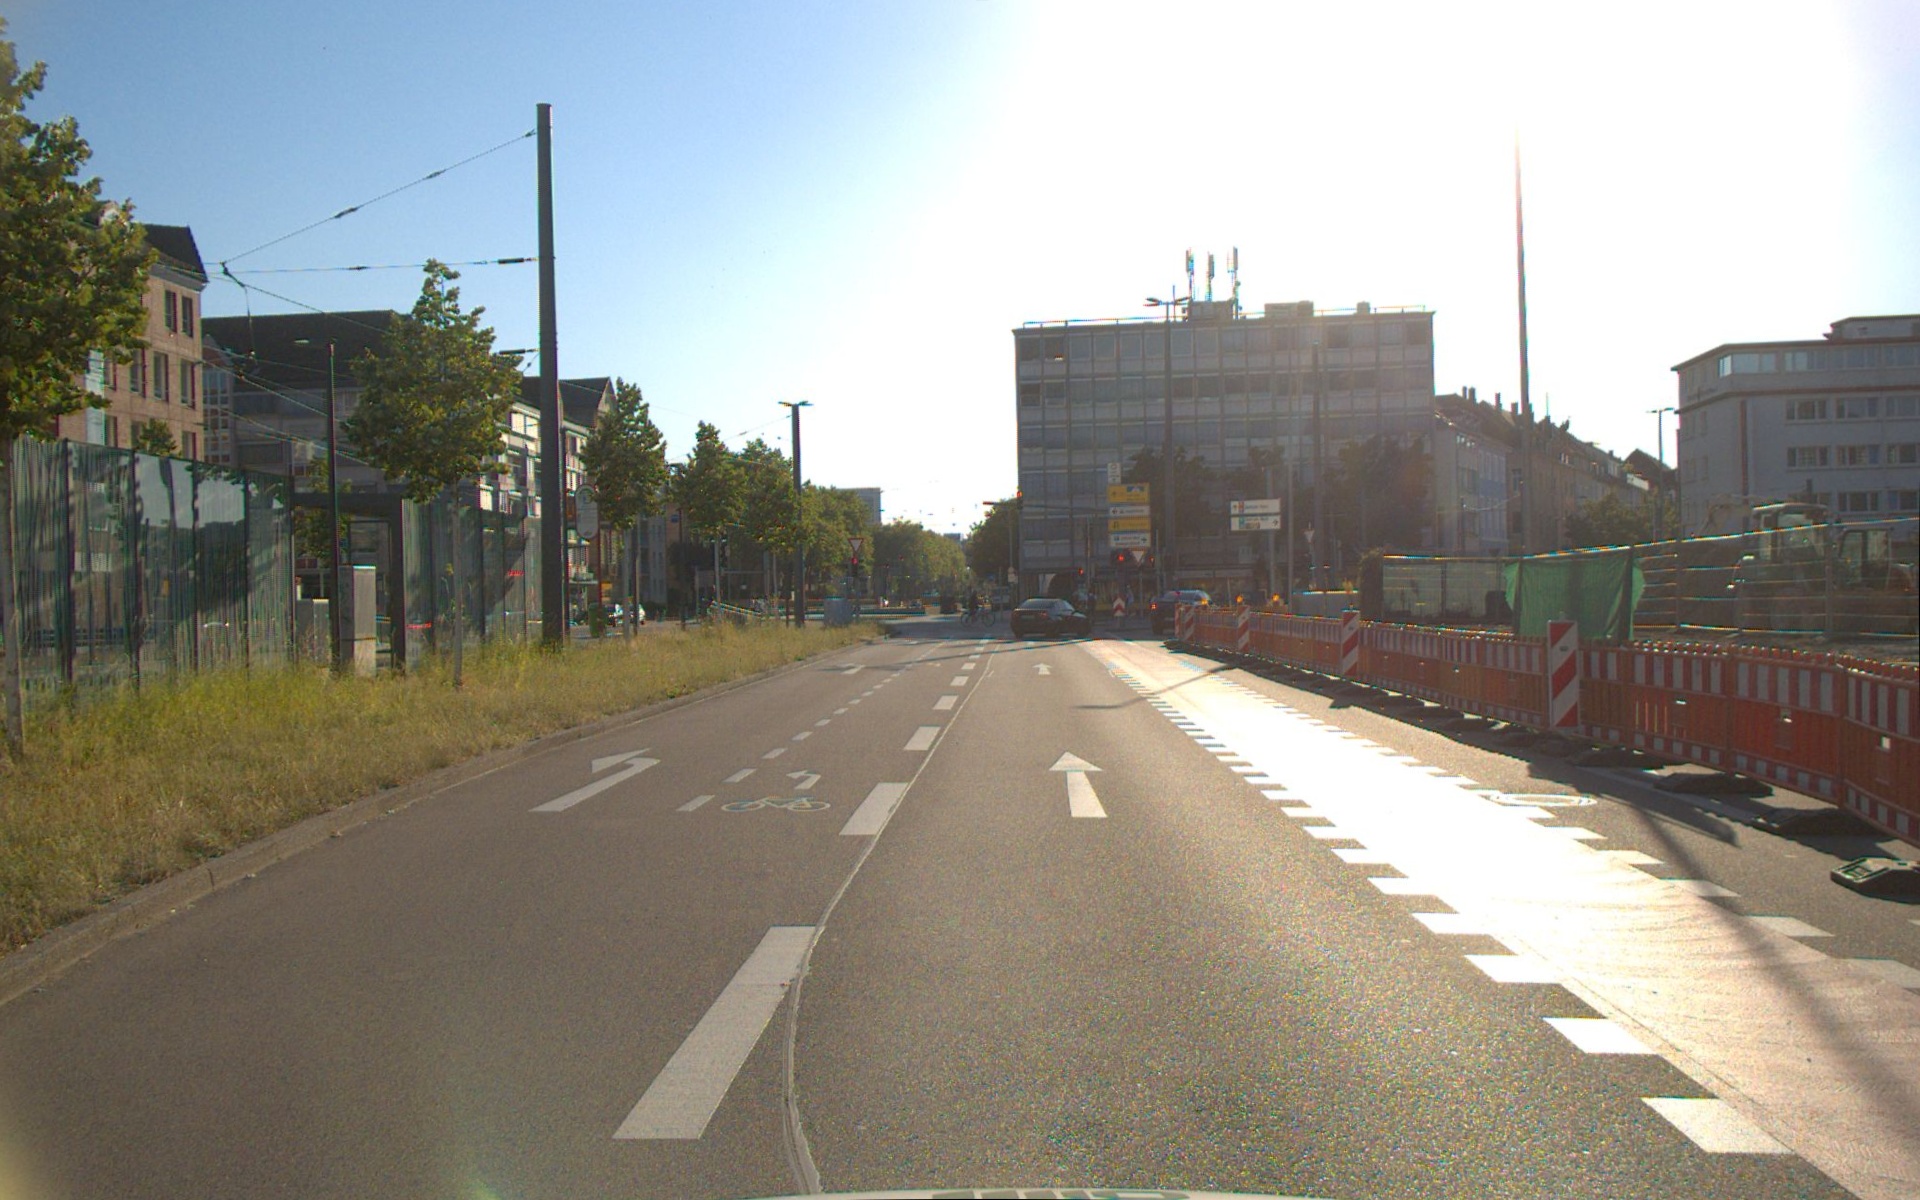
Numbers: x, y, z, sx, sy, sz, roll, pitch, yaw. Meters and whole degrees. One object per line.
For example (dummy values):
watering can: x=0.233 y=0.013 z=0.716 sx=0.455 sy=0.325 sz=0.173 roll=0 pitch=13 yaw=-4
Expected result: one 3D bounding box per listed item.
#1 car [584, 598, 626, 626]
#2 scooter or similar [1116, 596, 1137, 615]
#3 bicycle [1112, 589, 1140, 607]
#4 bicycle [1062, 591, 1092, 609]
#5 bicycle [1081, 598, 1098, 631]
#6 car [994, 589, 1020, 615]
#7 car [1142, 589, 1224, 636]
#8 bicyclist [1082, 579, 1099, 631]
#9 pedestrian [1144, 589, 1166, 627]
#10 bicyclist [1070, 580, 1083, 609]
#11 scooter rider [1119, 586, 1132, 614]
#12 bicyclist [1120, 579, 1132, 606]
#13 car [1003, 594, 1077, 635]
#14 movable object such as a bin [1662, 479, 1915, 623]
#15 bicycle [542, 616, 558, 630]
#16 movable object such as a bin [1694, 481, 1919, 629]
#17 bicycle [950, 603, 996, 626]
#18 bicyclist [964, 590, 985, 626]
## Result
car: x=-26.306 y=0.878 z=122.681 sx=1.952 sy=1.892 sz=4.002 roll=-2 pitch=0 yaw=4
scooter or similar: x=10.303 y=0.340 z=102.468 sx=1.150 sy=1.091 sz=0.529 roll=-2 pitch=0 yaw=-8
bicycle: x=10.807 y=-0.133 z=107.634 sx=1.699 sy=1.078 sz=0.538 roll=-2 pitch=0 yaw=-8
bicycle: x=7.277 y=-0.004 z=103.139 sx=1.742 sy=1.091 sz=0.534 roll=-2 pitch=0 yaw=-8
bicycle: x=5.235 y=0.595 z=66.932 sx=0.631 sy=1.244 sz=2.049 roll=0 pitch=2 yaw=2
car: x=4.676 y=0.224 z=164.603 sx=2.435 sy=2.434 sz=5.935 roll=-3 pitch=0 yaw=1
car: x=8.839 y=0.456 z=65.296 sx=1.956 sy=1.723 sz=3.994 roll=1 pitch=2 yaw=29
bicyclist: x=5.273 y=0.202 z=67.026 sx=0.630 sy=2.048 sz=1.067 roll=0 pitch=1 yaw=2
pedestrian: x=8.461 y=0.356 z=71.906 sx=0.860 sy=1.625 sz=0.655 roll=-2 pitch=0 yaw=1
bicyclist: x=7.276 y=-0.339 z=103.143 sx=0.651 sy=1.742 sz=0.537 roll=-2 pitch=0 yaw=-8
scooter rider: x=10.270 y=0.003 z=102.464 sx=0.651 sy=1.742 sz=0.525 roll=-2 pitch=0 yaw=-8
bicyclist: x=10.805 y=-0.473 z=107.637 sx=0.651 sy=1.742 sz=0.537 roll=-2 pitch=0 yaw=-8
car: x=3.023 y=0.512 z=61.582 sx=1.707 sy=1.451 sz=4.002 roll=-1 pitch=0 yaw=18
movable object such as a bin: x=22.527 y=-1.254 z=45.193 sx=5.943 sy=3.620 sz=2.859 roll=-1 pitch=0 yaw=27
bicycle: x=-29.098 y=1.622 z=117.323 sx=0.586 sy=0.931 sz=1.837 roll=-2 pitch=0 yaw=3
movable object such as a bin: x=17.135 y=-0.861 z=33.690 sx=2.229 sy=2.751 sz=4.943 roll=-1 pitch=0 yaw=1
bicycle: x=0.627 y=0.709 z=79.935 sx=2.179 sy=1.044 sz=0.682 roll=-1 pitch=0 yaw=5
bicyclist: x=0.699 y=0.394 z=79.928 sx=0.938 sy=1.690 sz=0.691 roll=-1 pitch=0 yaw=5
